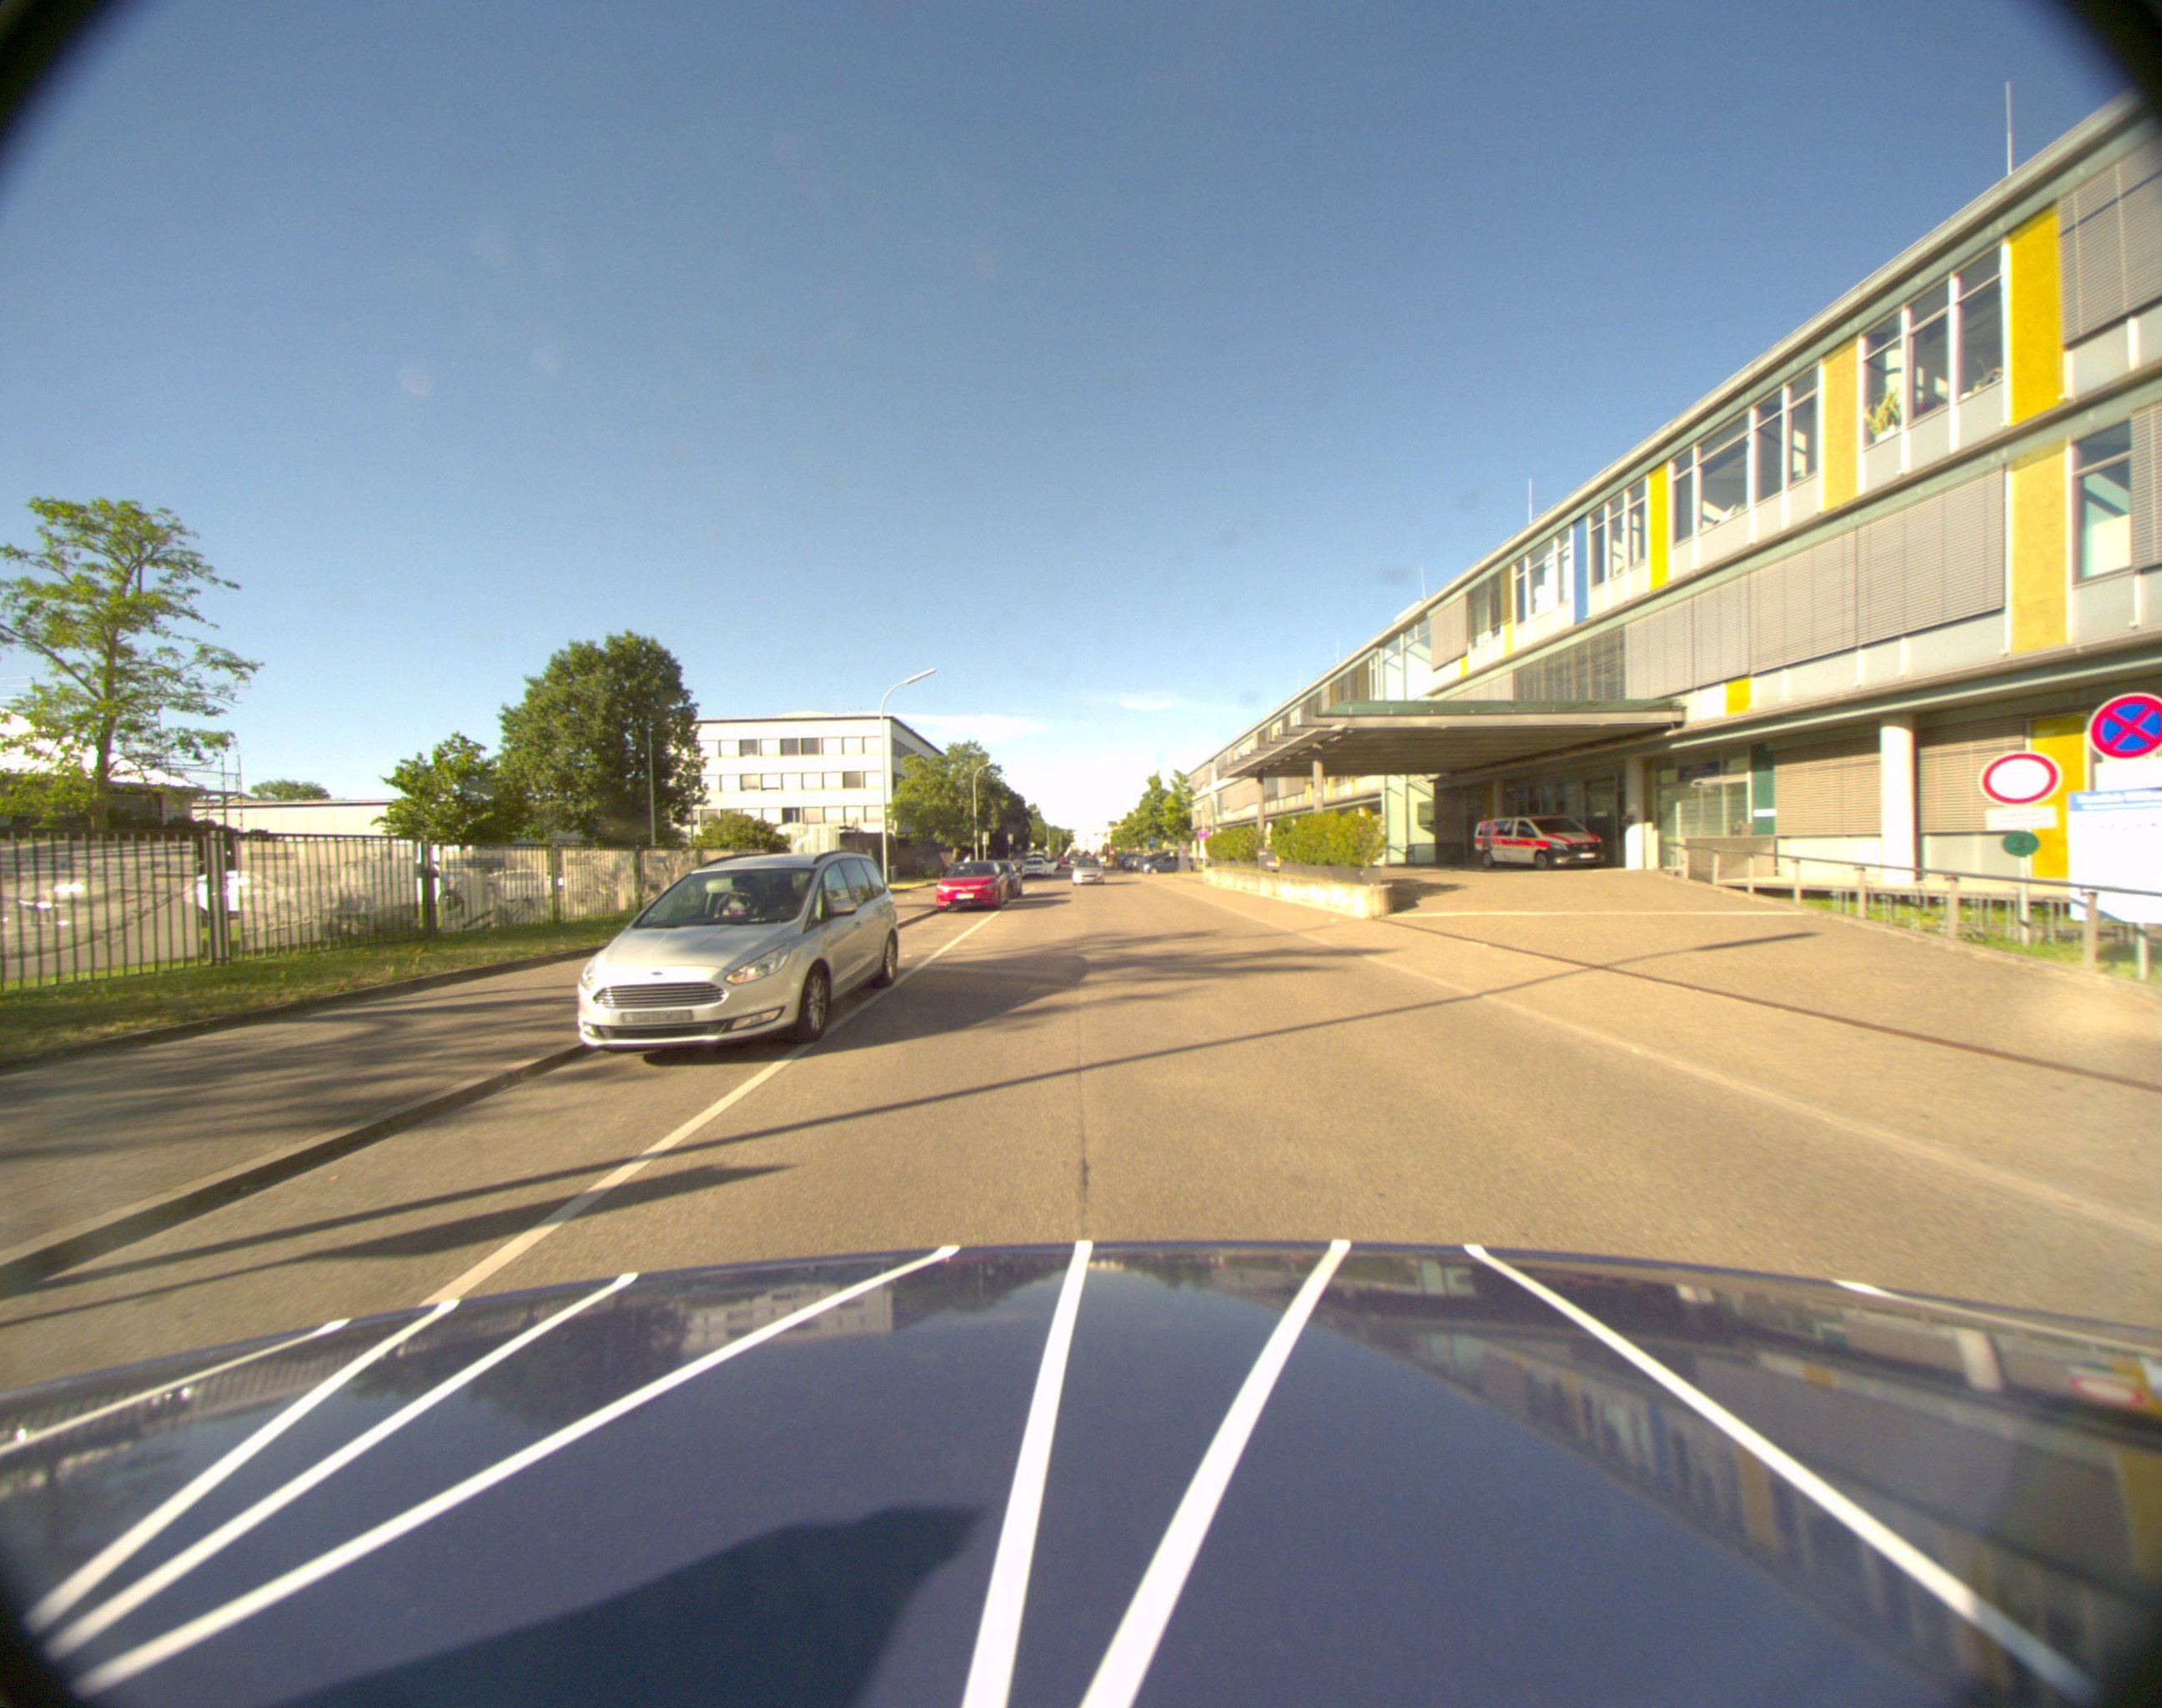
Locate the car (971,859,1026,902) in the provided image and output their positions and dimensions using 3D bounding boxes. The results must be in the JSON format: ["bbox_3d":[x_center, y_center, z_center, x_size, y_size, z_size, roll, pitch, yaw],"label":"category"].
[{"bbox_3d":[-3.197,0.996,30.053,1.705,1.478,4.214,-3,0,-1],"label":"car"}]

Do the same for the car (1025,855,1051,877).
[{"bbox_3d":[-3.219,0.878,57.551,1.668,1.505,4.114,-3,0,1],"label":"car"}]

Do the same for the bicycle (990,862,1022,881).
[{"bbox_3d":[-4.650,1.089,47.123,1.884,1.002,0.701,2,-5,-2],"label":"bicycle"}]

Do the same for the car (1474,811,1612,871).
[{"bbox_3d":[15.931,-0.421,26.549,1.924,1.880,4.711,-1,0,0],"label":"car"}]

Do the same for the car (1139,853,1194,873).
[{"bbox_3d":[6.862,0.734,61.251,4.142,1.458,1.753,-2,0,-1],"label":"car"}]

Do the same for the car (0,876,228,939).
[{"bbox_3d":[-24.382,1.323,18.828,4.154,1.245,1.878,-3,1,-3],"label":"car"}]

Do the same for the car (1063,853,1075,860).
[{"bbox_3d":[-2.271,0.491,142.222,1.999,1.382,3.998,0,0,-5],"label":"car"}]

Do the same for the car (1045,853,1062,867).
[{"bbox_3d":[-3.385,0.786,94.957,1.890,1.616,4.294,-3,0,0],"label":"car"}]

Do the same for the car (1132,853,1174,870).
[{"bbox_3d":[7.204,0.771,76.405,3.991,1.480,1.823,-3,1,-2],"label":"car"}]

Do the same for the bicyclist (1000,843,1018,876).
[{"bbox_3d":[-4.447,0.367,47.149,1.052,2.001,0.959,1,0,-2],"label":"bicyclist"}]

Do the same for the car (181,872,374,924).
[{"bbox_3d":[-24.231,1.299,23.022,3.899,1.371,1.675,-1,0,-3],"label":"car"}]

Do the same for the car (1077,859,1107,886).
[{"bbox_3d":[0.617,0.955,41.289,1.551,1.389,3.454,0,0,1],"label":"car"}]

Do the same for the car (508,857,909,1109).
[{"bbox_3d":[-3.228,0.947,7.870,1.814,1.712,4.703,-3,0,-1],"label":"car"}]

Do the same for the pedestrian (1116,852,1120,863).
[{"bbox_3d":[5.585,0.509,114.629,0.369,1.712,0.479,-3,5,-4],"label":"pedestrian"}]

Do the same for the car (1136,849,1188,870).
[{"bbox_3d":[7.062,0.481,66.400,4.232,1.642,1.960,-2,0,-2],"label":"car"}]

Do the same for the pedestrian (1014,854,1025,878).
[{"bbox_3d":[-4.439,0.890,54.801,0.693,1.718,0.775,0,1,-1],"label":"pedestrian"}]

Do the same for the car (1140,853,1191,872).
[{"bbox_3d":[7.082,0.713,63.867,3.998,1.429,1.730,-2,0,-2],"label":"car"}]

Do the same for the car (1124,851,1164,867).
[{"bbox_3d":[7.389,0.554,89.031,4.360,1.618,1.999,-3,1,-4],"label":"car"}]

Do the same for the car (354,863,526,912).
[{"bbox_3d":[-24.182,1.223,28.839,4.642,1.658,1.999,-1,0,-5],"label":"car"}]

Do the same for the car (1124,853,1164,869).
[{"bbox_3d":[6.872,0.756,83.423,4.102,1.414,1.823,-3,1,-2],"label":"car"}]

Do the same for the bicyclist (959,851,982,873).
[{"bbox_3d":[-6.454,0.455,44.413,1.098,1.261,0.863,-1,0,15],"label":"bicyclist"}]

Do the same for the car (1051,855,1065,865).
[{"bbox_3d":[-3.312,0.873,111.394,1.824,1.435,4.294,-3,0,0],"label":"car"}]

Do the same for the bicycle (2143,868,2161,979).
[{"bbox_3d":[11.806,0.693,7.681,1.721,1.117,0.536,-1,1,-9],"label":"bicycle"}]

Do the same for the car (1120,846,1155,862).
[{"bbox_3d":[7.327,0.034,99.225,4.359,1.852,2.000,-3,0,1],"label":"car"}]

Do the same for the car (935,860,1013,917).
[{"bbox_3d":[-3.293,1.011,24.248,1.814,1.501,4.721,-3,0,-1],"label":"car"}]
